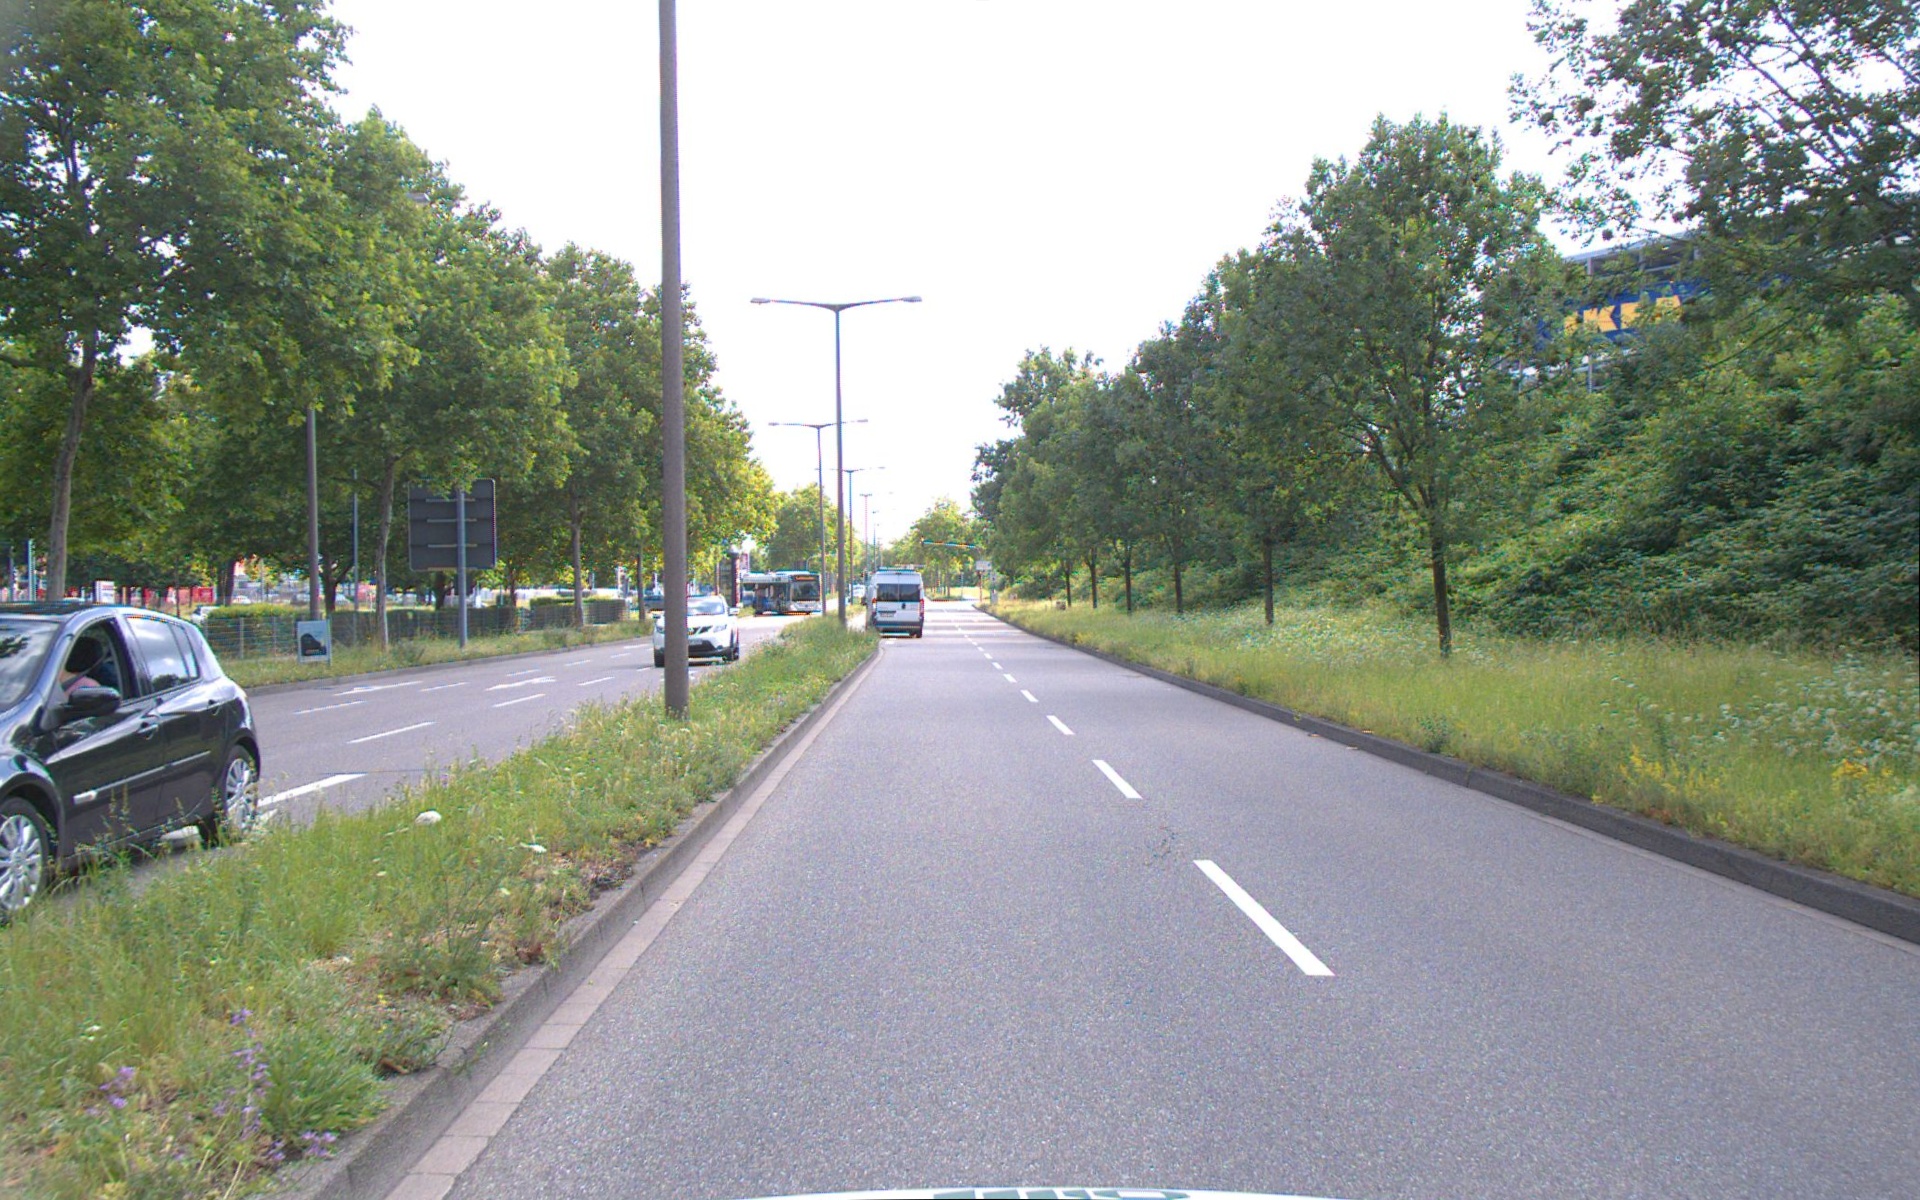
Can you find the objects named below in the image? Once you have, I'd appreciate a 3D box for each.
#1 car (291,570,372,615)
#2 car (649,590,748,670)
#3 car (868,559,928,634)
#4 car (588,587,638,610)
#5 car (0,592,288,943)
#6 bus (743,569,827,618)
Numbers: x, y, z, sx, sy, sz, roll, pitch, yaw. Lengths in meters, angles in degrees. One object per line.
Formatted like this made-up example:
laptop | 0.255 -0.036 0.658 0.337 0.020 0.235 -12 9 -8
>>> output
car | -25.861 -0.279 68.213 1.853 1.624 3.998 0 -3 -2
car | -6.089 0.658 38.930 1.778 1.668 4.349 -3 1 -3
car | -2.460 -0.116 64.537 2.154 2.774 4.926 0 -1 -4
car | -30.579 -0.133 145.671 3.964 1.870 1.837 2 -4 -41
car | -4.993 0.742 8.419 1.660 1.489 3.938 -2 0 -3
bus | -13.198 -0.402 123.536 3.065 3.331 12.259 -2 0 -21
